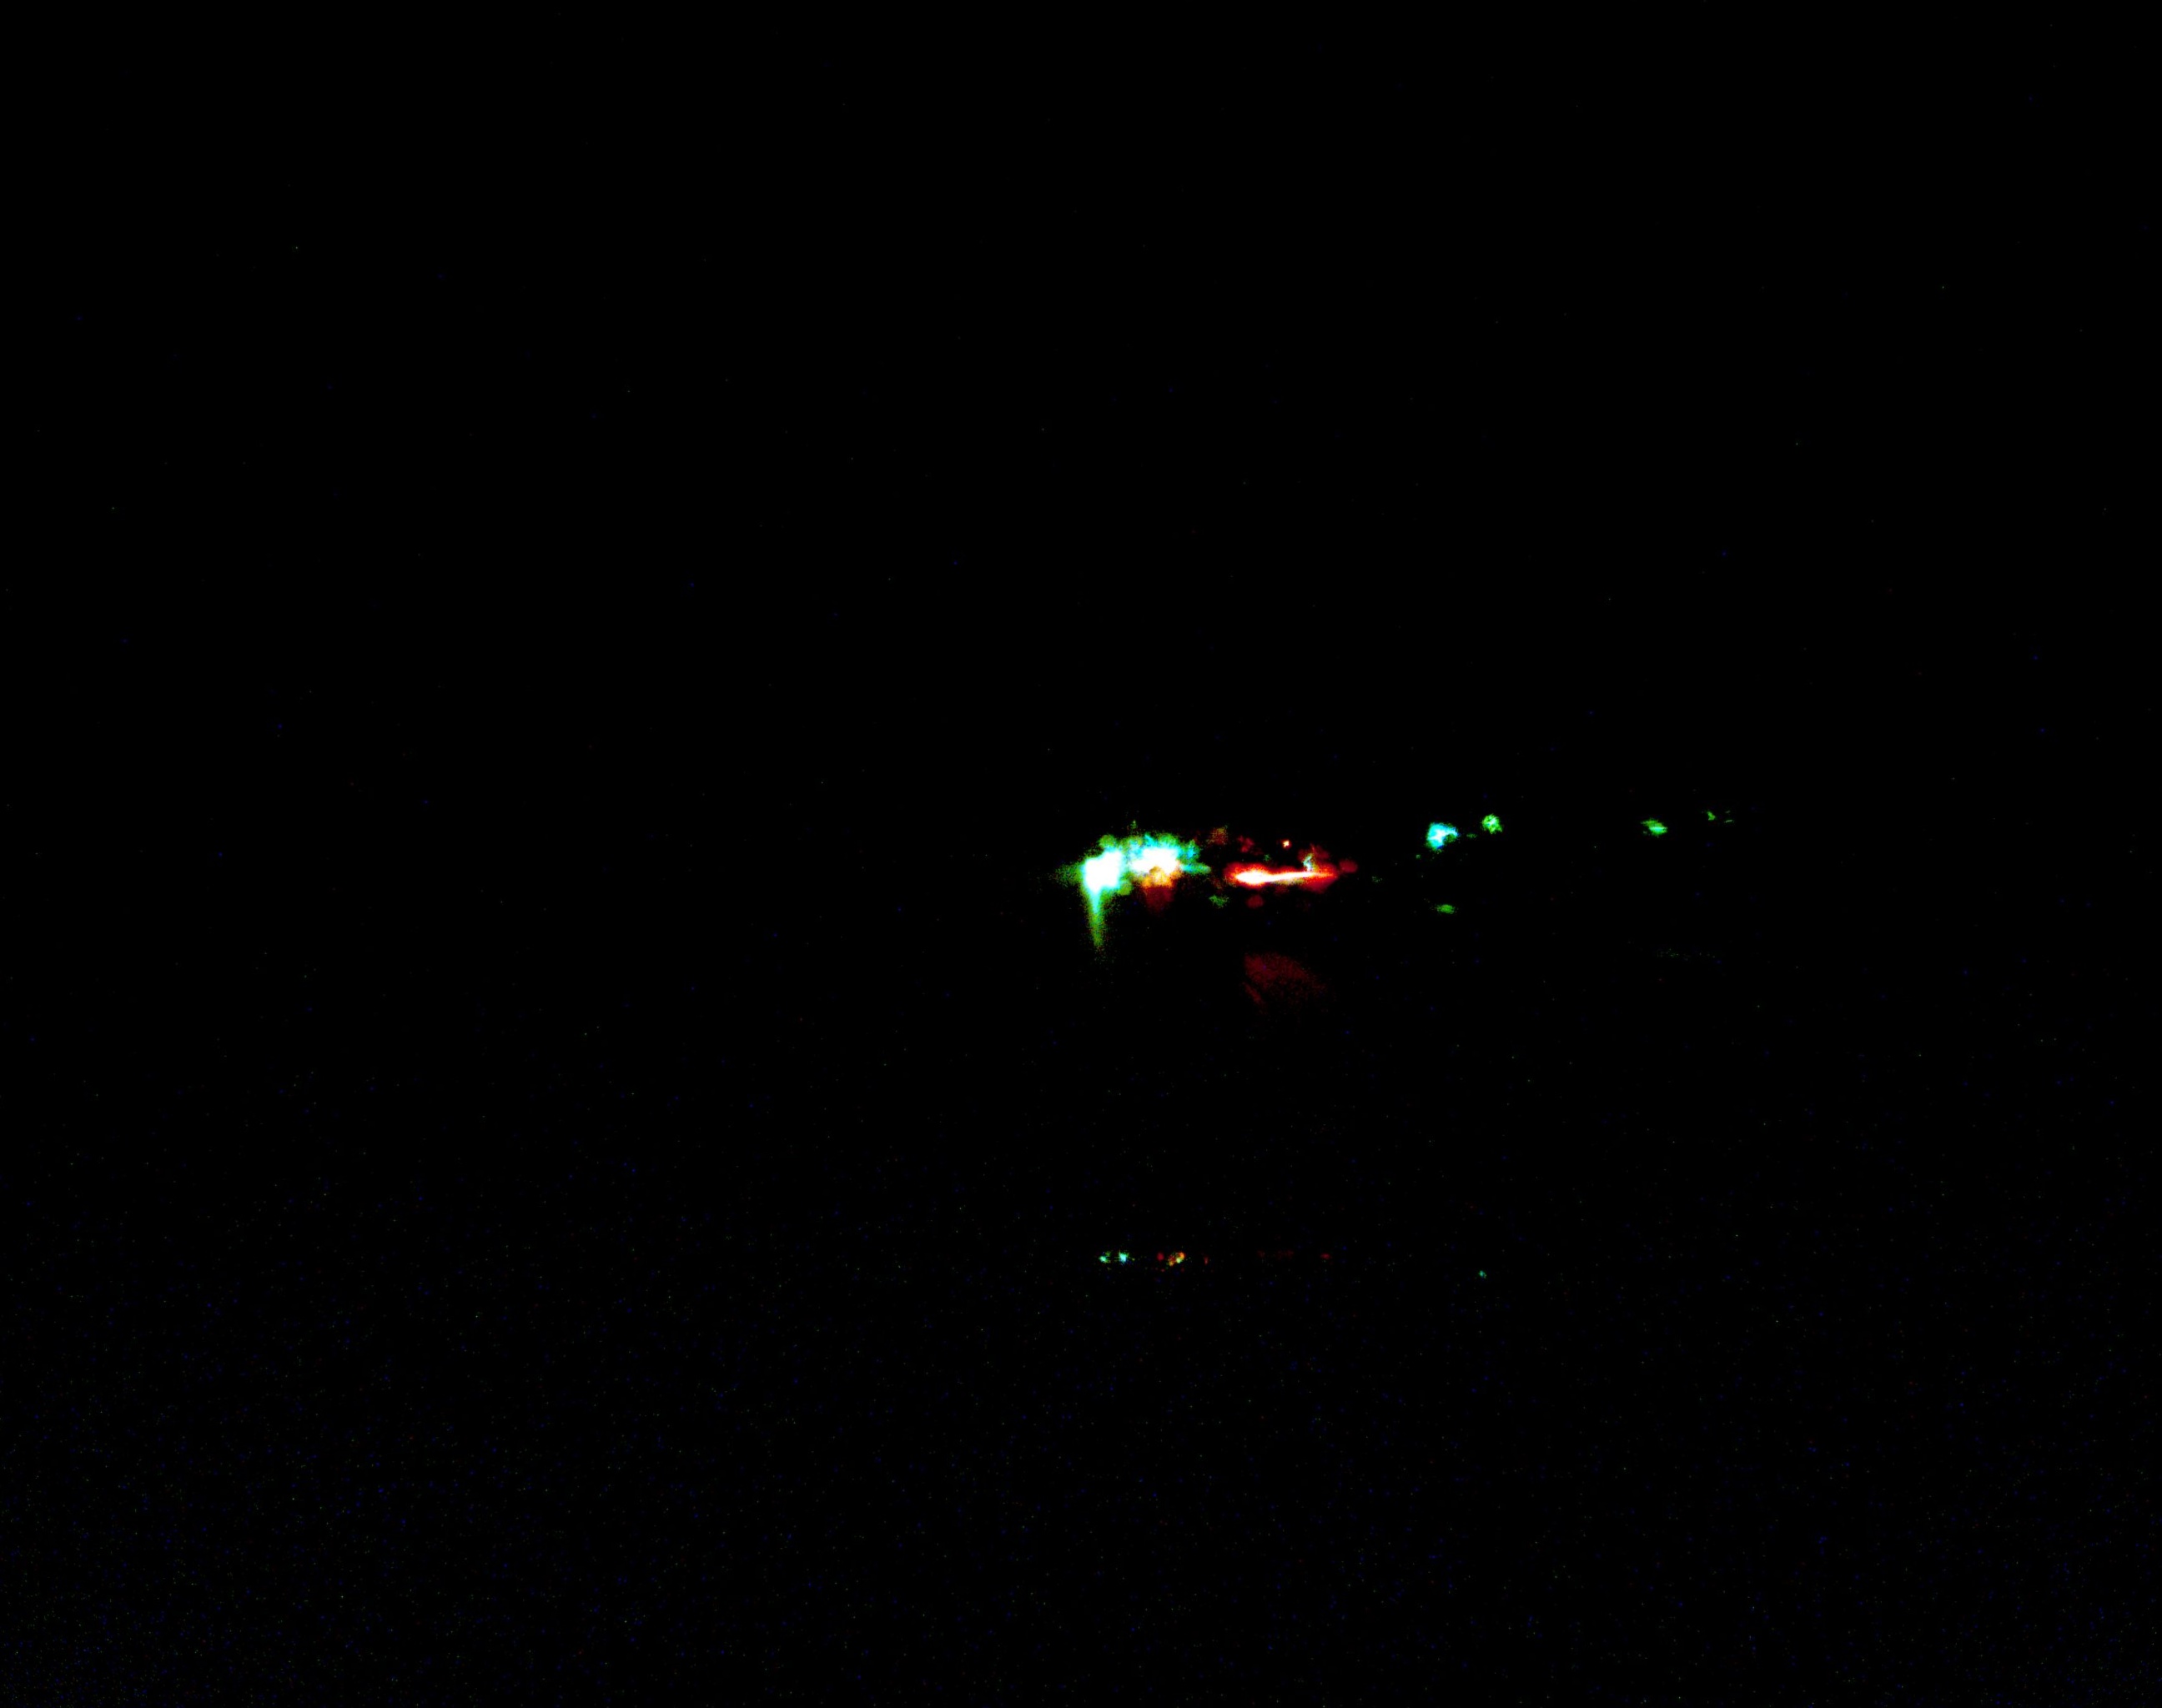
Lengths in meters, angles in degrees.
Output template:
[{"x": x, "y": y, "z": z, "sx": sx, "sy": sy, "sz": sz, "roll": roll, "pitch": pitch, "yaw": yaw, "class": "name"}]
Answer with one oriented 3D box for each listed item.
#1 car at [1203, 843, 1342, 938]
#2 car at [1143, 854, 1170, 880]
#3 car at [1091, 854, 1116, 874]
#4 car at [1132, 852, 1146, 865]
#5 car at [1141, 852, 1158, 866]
[{"x": 3.897, "y": 0.683, "z": 16.181, "sx": 1.931, "sy": 1.693, "sz": 4.000, "roll": -2, "pitch": 0, "yaw": 1, "class": "car"}, {"x": 5.066, "y": 0.846, "z": 51.344, "sx": 1.487, "sy": 1.606, "sz": 3.561, "roll": -4, "pitch": 0, "yaw": 2, "class": "car"}, {"x": 2.079, "y": 0.861, "z": 69.245, "sx": 1.877, "sy": 1.578, "sz": 4.890, "roll": -2, "pitch": 1, "yaw": 5, "class": "car"}, {"x": 7.803, "y": 0.611, "z": 102.509, "sx": 1.658, "sy": 1.673, "sz": 4.521, "roll": -2, "pitch": 0, "yaw": 3, "class": "car"}, {"x": 8.119, "y": 0.578, "z": 90.016, "sx": 1.697, "sy": 1.511, "sz": 3.863, "roll": -2, "pitch": 0, "yaw": 1, "class": "car"}]
